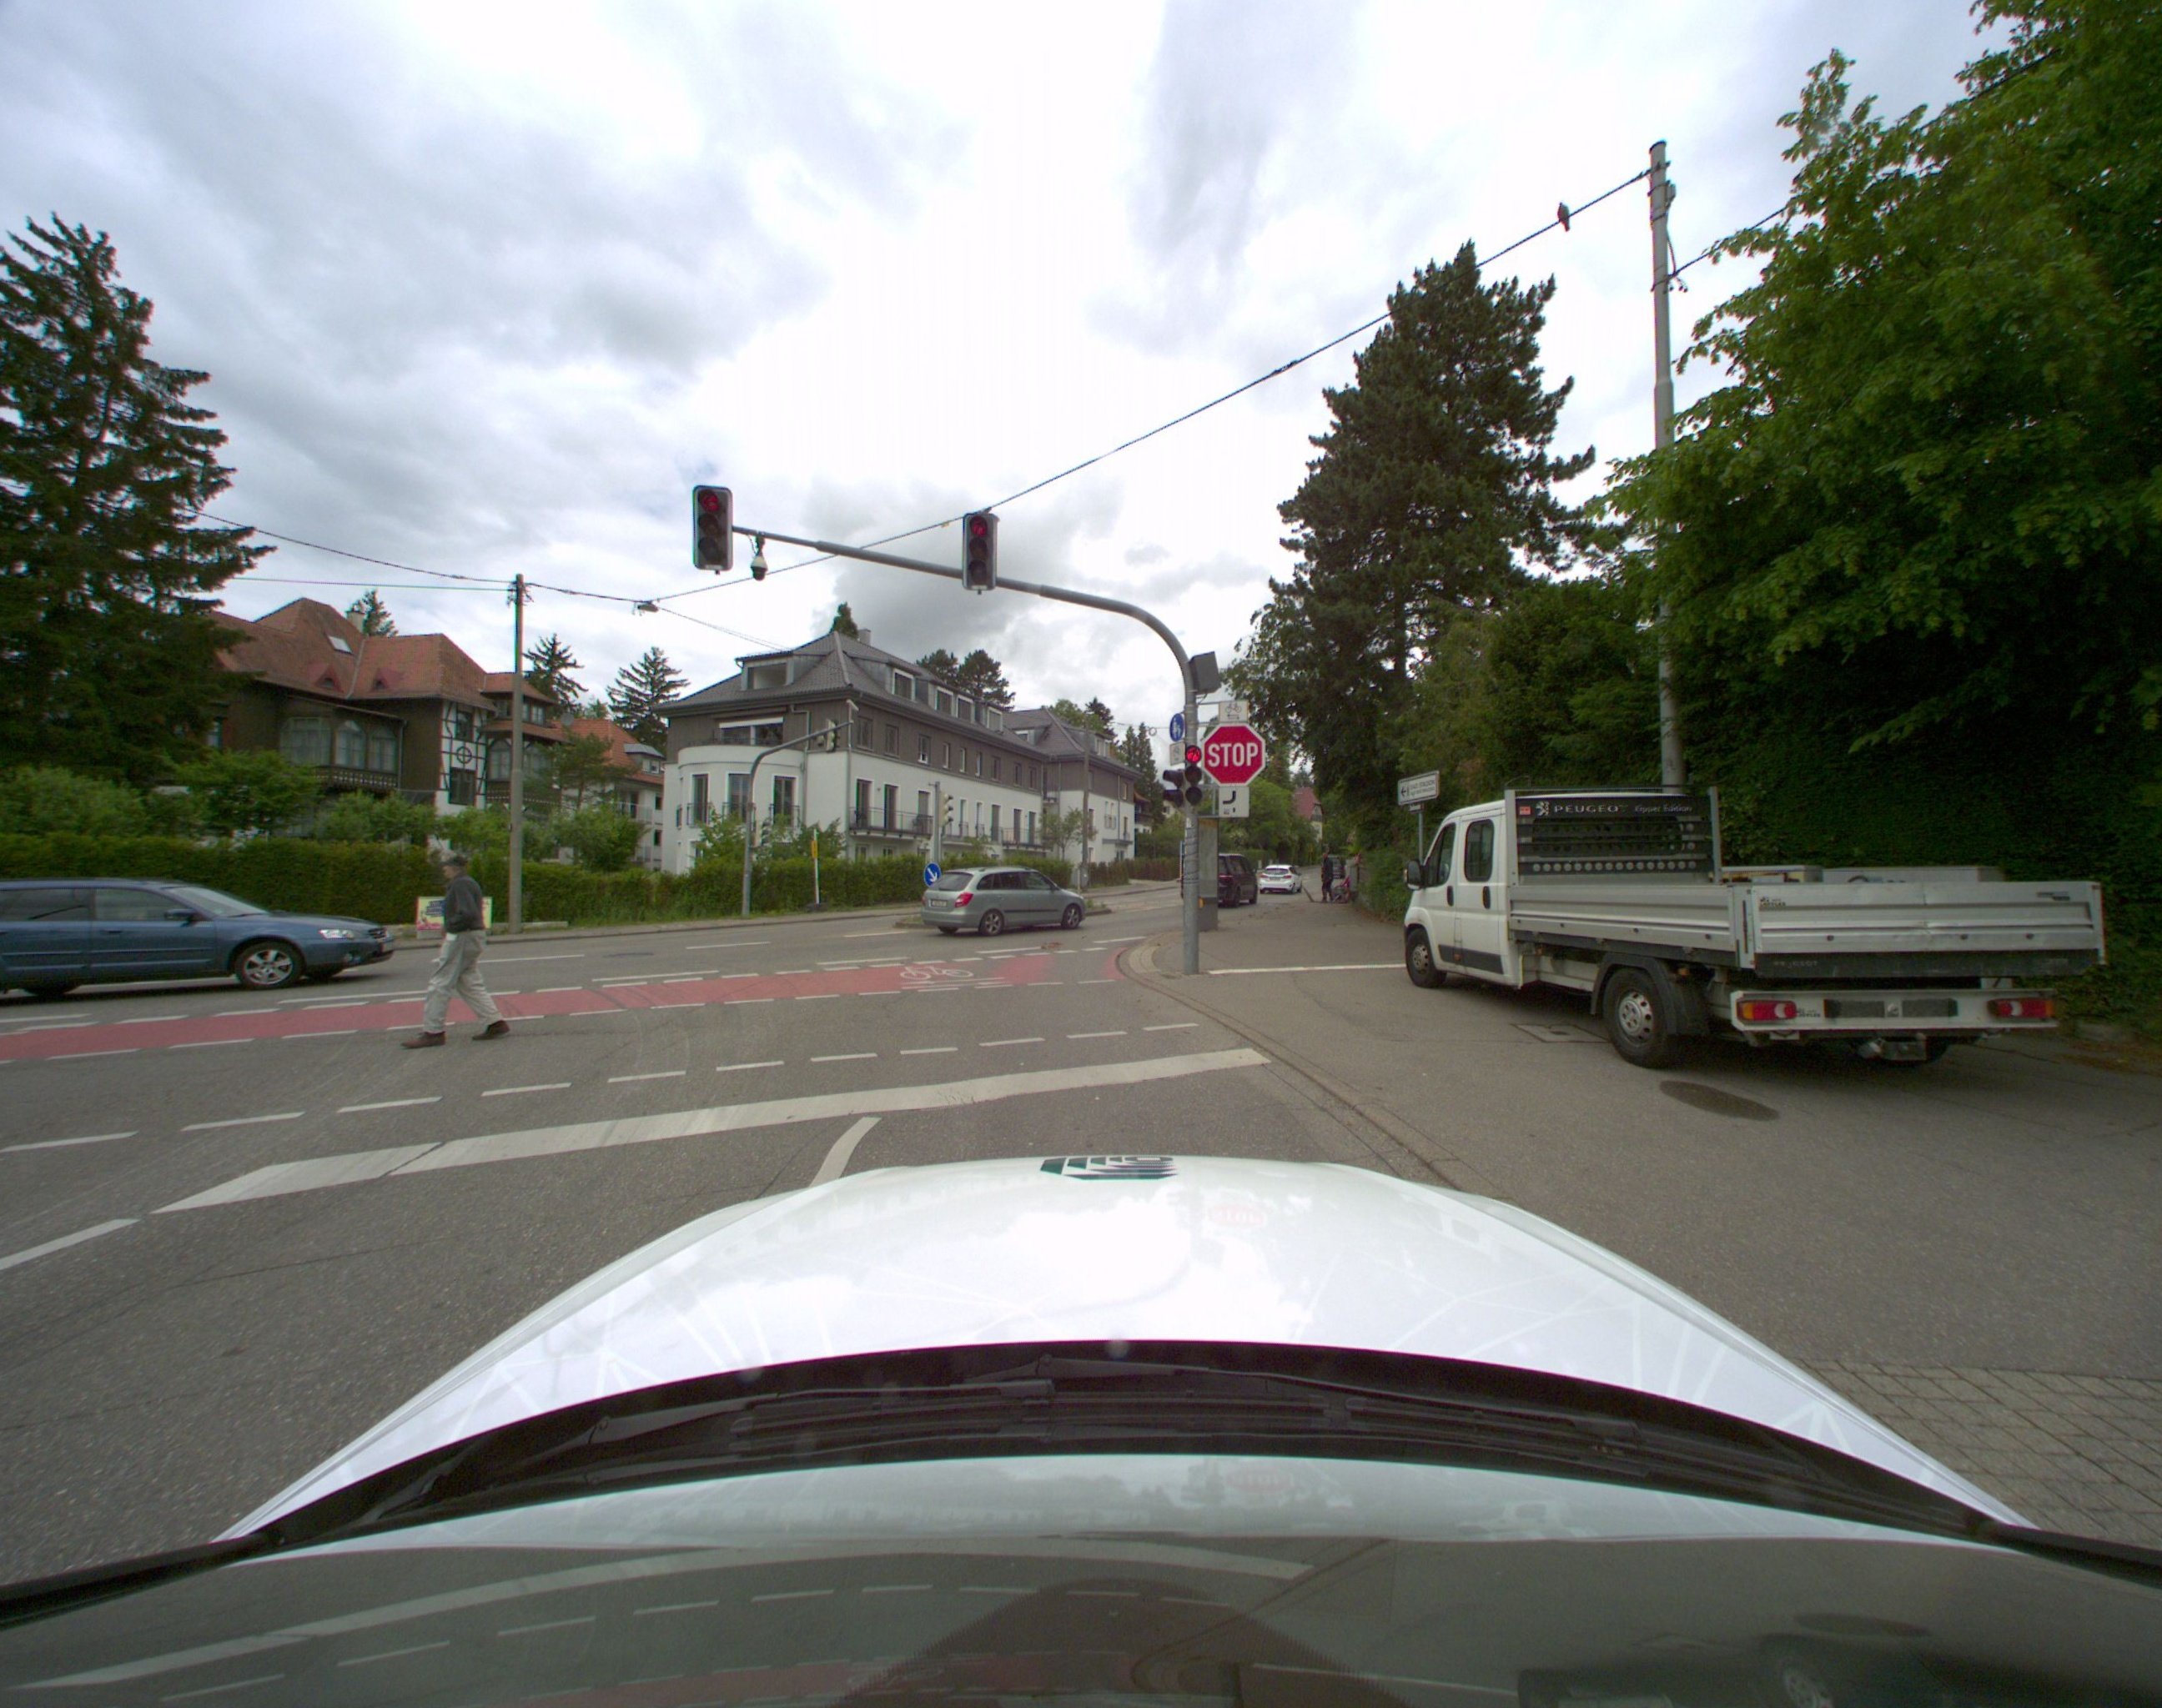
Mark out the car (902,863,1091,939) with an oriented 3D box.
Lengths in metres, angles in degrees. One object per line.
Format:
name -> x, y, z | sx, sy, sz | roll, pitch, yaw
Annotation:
car -> -1.804, 0.963, 18.474 | 1.691, 1.476, 4.221 | 0, 0, 42

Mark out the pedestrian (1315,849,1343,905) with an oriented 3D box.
pedestrian -> 9.096, 0.830, 29.930 | 0.835, 2.013, 0.589 | -1, 0, 0

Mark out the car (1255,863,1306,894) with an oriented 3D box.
car -> 10.243, 1.215, 41.703 | 1.914, 1.383, 4.022 | -1, 0, 23

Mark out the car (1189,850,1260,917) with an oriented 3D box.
car -> 5.271, 0.970, 29.421 | 1.979, 2.013, 4.801 | 3, 2, 16

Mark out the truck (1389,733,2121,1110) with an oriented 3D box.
truck -> 5.055, 0.442, 7.720 | 2.176, 2.195, 5.882 | 0, -1, 1

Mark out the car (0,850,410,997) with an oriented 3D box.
car -> -12.001, 0.835, 10.803 | 4.411, 1.684, 1.898 | -1, -1, -25

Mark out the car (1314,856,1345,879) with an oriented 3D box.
car -> 21.906, 1.236, 72.054 | 1.982, 2.014, 4.519 | 0, -2, 8

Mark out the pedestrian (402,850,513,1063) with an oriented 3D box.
pedestrian -> -5.321, 0.819, 6.997 | 0.703, 1.681, 0.679 | -1, 2, -35
